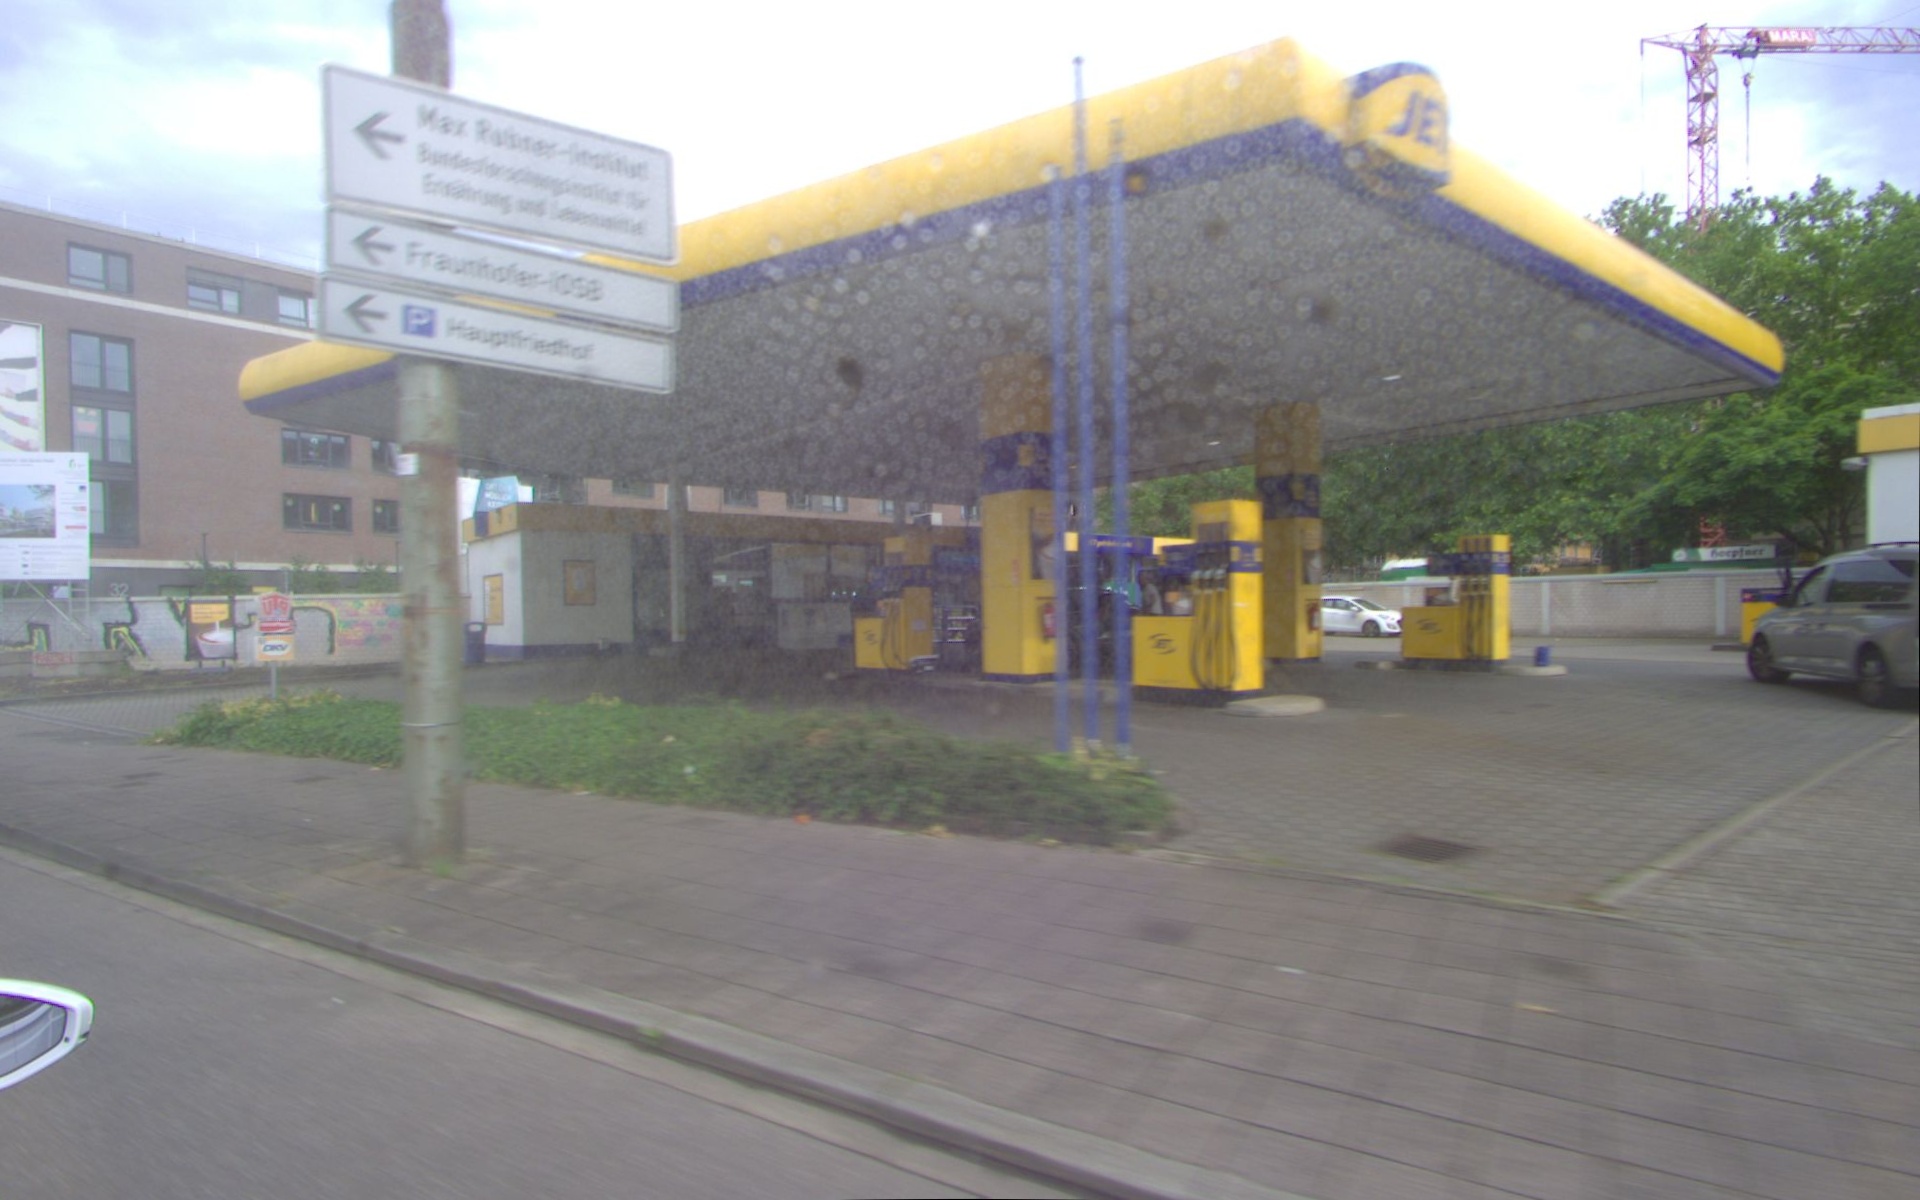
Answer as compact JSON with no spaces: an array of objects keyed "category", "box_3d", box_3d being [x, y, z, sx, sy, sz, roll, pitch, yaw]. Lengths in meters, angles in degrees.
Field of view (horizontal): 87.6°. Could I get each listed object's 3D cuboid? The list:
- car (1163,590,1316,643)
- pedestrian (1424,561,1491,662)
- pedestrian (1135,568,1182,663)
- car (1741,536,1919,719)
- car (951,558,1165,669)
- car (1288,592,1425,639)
[{"category":"car","box_3d":[9.311,0.496,33.662,1.920,1.617,4.721,0,1,-39]},{"category":"pedestrian","box_3d":[9.258,0.195,18.668,0.592,1.845,0.968,0,3,-14]},{"category":"pedestrian","box_3d":[3.841,0.304,19.431,0.694,1.810,0.627,0,-1,-11]},{"category":"car","box_3d":[11.464,0.195,11.999,1.952,1.868,4.516,-1,2,19]},{"category":"car","box_3d":[1.881,0.283,20.327,1.804,2.014,4.218,-2,0,-40]},{"category":"car","box_3d":[14.773,0.536,37.479,1.936,1.607,4.389,1,1,-38]}]
